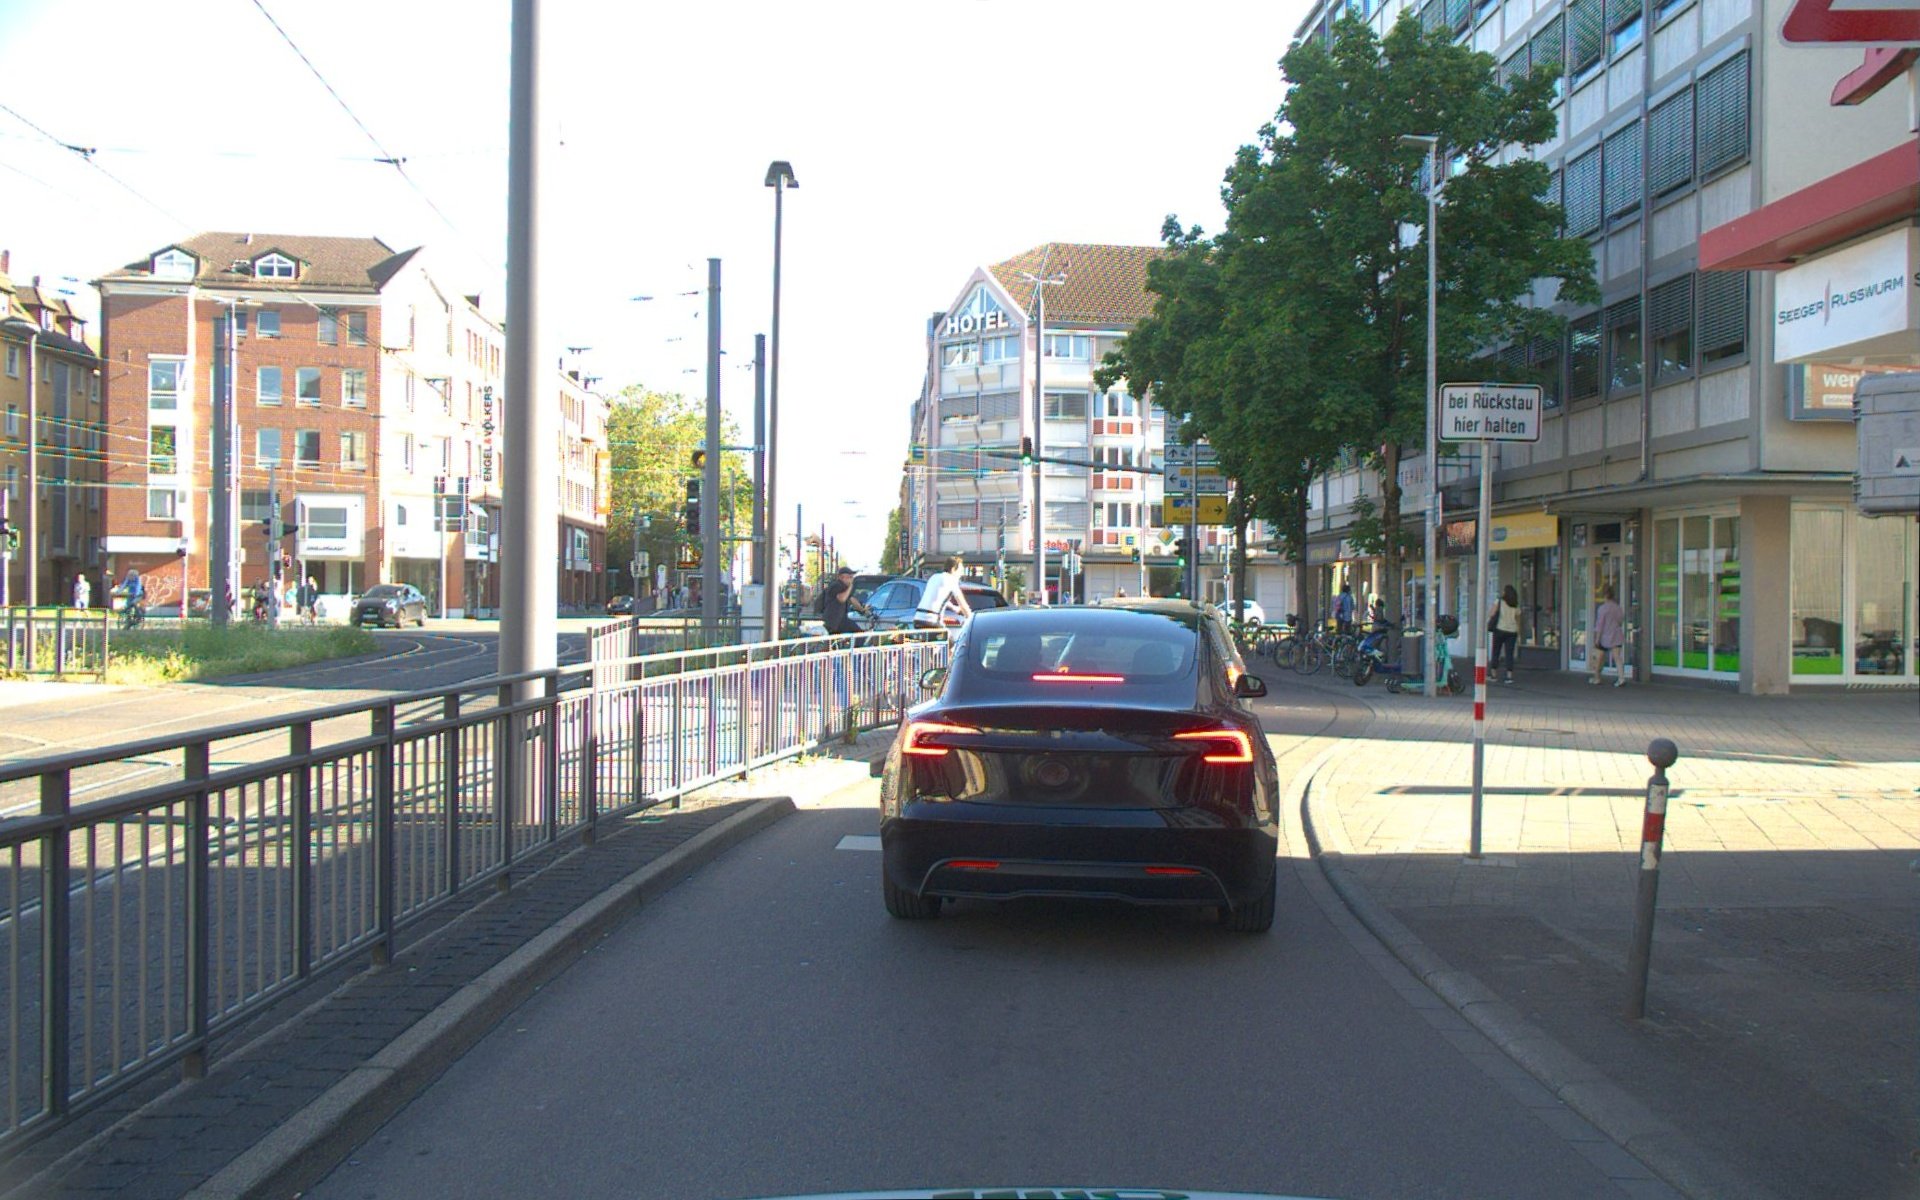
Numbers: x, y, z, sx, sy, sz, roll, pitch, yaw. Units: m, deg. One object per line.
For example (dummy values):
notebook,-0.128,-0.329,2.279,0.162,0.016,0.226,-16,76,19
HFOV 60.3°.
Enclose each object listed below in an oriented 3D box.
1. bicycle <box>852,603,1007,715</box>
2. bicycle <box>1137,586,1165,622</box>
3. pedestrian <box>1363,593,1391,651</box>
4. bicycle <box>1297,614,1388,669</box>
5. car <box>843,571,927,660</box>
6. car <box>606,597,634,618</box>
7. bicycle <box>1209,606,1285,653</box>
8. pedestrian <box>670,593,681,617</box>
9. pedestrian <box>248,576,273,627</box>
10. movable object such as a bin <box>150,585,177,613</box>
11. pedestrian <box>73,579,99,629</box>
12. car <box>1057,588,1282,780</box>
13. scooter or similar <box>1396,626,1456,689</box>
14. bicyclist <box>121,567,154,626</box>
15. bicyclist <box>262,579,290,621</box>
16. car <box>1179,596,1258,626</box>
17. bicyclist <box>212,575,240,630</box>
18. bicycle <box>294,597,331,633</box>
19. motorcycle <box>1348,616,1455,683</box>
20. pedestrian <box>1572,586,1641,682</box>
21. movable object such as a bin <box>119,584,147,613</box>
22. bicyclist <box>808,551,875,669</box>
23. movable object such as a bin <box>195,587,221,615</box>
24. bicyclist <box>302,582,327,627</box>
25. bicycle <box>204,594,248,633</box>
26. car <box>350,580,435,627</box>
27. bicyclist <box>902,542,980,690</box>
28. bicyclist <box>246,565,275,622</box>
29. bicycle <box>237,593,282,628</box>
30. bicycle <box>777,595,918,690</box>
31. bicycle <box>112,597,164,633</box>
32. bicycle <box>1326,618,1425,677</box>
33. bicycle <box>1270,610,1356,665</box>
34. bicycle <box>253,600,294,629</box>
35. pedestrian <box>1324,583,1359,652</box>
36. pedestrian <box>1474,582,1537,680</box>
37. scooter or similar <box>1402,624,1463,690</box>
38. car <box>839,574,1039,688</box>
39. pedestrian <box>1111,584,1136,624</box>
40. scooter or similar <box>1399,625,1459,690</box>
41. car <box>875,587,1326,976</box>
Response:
bicycle,-0.338,0.663,18.972,1.808,1.233,0.574,1,-1,-40
bicycle,8.020,0.157,69.533,0.573,1.489,1.679,0,0,-16
pedestrian,10.698,0.560,42.446,0.631,1.447,0.621,1,-1,10
bicycle,7.729,0.831,33.439,1.730,1.075,0.458,1,-1,4
car,-1.501,0.304,32.862,1.541,1.646,3.781,1,0,-3
car,-26.074,0.572,126.954,1.783,1.479,3.971,-1,0,-7
bicycle,7.387,0.752,42.538,1.851,1.177,0.480,-1,-1,0
pedestrian,-18.734,0.302,108.865,0.574,1.557,0.634,1,-1,-18
pedestrian,-28.444,0.065,67.277,0.582,2.049,0.830,1,-1,2
movable object such as a bin,-41.506,-0.040,86.192,0.978,1.462,1.093,1,0,-10
pedestrian,-30.226,0.130,57.202,0.613,1.717,0.703,1,1,-13
car,1.788,0.638,15.190,1.727,1.469,4.531,1,0,4
scooter or similar,7.720,0.950,27.404,0.943,1.045,0.160,0,0,2
bicyclist,-23.905,-0.106,48.087,0.510,1.702,0.770,1,-1,1
bicyclist,-24.367,0.015,58.932,0.650,1.479,0.730,1,-1,0
car,13.506,0.584,86.628,3.766,1.457,1.801,1,-2,-6
bicyclist,-23.384,0.080,52.706,0.510,1.702,0.770,1,-1,0
bicycle,-24.164,0.561,61.785,0.562,1.313,2.027,1,0,0
motorcycle,7.826,0.866,29.324,1.751,1.149,0.504,1,-1,-3
pedestrian,11.201,0.586,28.668,0.826,1.630,0.880,1,-1,-1
movable object such as a bin,-42.945,-0.061,85.917,0.978,1.462,1.093,1,0,-10
bicyclist,-1.591,0.135,22.188,0.674,1.550,0.628,1,-1,-32
movable object such as a bin,-39.267,0.051,86.394,0.978,1.462,1.093,1,0,-10
bicyclist,-24.158,0.164,61.912,0.576,1.678,0.806,1,-1,0
bicycle,-23.394,0.423,52.755,0.519,1.235,1.885,1,0,1
car,-20.305,0.134,59.300,1.650,1.588,4.121,1,0,-1
bicyclist,-0.224,0.185,19.050,0.676,1.659,0.570,1,-1,-39
bicyclist,-21.264,-0.190,50.261,0.514,1.702,0.770,1,-1,1
bicycle,-21.273,0.324,50.257,0.519,1.031,1.897,1,0,1
bicycle,-1.507,0.569,22.240,1.802,1.233,0.635,1,-1,-32
bicycle,-23.915,0.433,48.147,0.519,1.031,1.885,1,0,1
bicycle,7.879,0.898,31.351,1.817,1.074,0.398,-1,0,-12
bicycle,7.558,0.792,35.435,1.774,1.172,0.435,0,0,-5
bicycle,-24.368,0.513,58.719,0.636,1.031,1.885,1,0,1
pedestrian,9.861,0.456,42.751,0.825,1.751,0.881,1,-1,10
pedestrian,9.829,0.552,29.844,0.826,1.737,0.880,1,-1,-1
scooter or similar,7.710,0.926,27.005,0.943,1.061,0.160,0,0,2
car,-0.399,0.461,26.200,1.818,1.663,3.455,1,0,-27
pedestrian,6.862,0.166,69.436,0.766,1.604,0.864,1,1,-16
scooter or similar,7.715,0.939,27.203,0.936,1.057,0.160,0,0,2
car,0.647,0.701,8.507,1.753,1.476,3.941,1,1,3
